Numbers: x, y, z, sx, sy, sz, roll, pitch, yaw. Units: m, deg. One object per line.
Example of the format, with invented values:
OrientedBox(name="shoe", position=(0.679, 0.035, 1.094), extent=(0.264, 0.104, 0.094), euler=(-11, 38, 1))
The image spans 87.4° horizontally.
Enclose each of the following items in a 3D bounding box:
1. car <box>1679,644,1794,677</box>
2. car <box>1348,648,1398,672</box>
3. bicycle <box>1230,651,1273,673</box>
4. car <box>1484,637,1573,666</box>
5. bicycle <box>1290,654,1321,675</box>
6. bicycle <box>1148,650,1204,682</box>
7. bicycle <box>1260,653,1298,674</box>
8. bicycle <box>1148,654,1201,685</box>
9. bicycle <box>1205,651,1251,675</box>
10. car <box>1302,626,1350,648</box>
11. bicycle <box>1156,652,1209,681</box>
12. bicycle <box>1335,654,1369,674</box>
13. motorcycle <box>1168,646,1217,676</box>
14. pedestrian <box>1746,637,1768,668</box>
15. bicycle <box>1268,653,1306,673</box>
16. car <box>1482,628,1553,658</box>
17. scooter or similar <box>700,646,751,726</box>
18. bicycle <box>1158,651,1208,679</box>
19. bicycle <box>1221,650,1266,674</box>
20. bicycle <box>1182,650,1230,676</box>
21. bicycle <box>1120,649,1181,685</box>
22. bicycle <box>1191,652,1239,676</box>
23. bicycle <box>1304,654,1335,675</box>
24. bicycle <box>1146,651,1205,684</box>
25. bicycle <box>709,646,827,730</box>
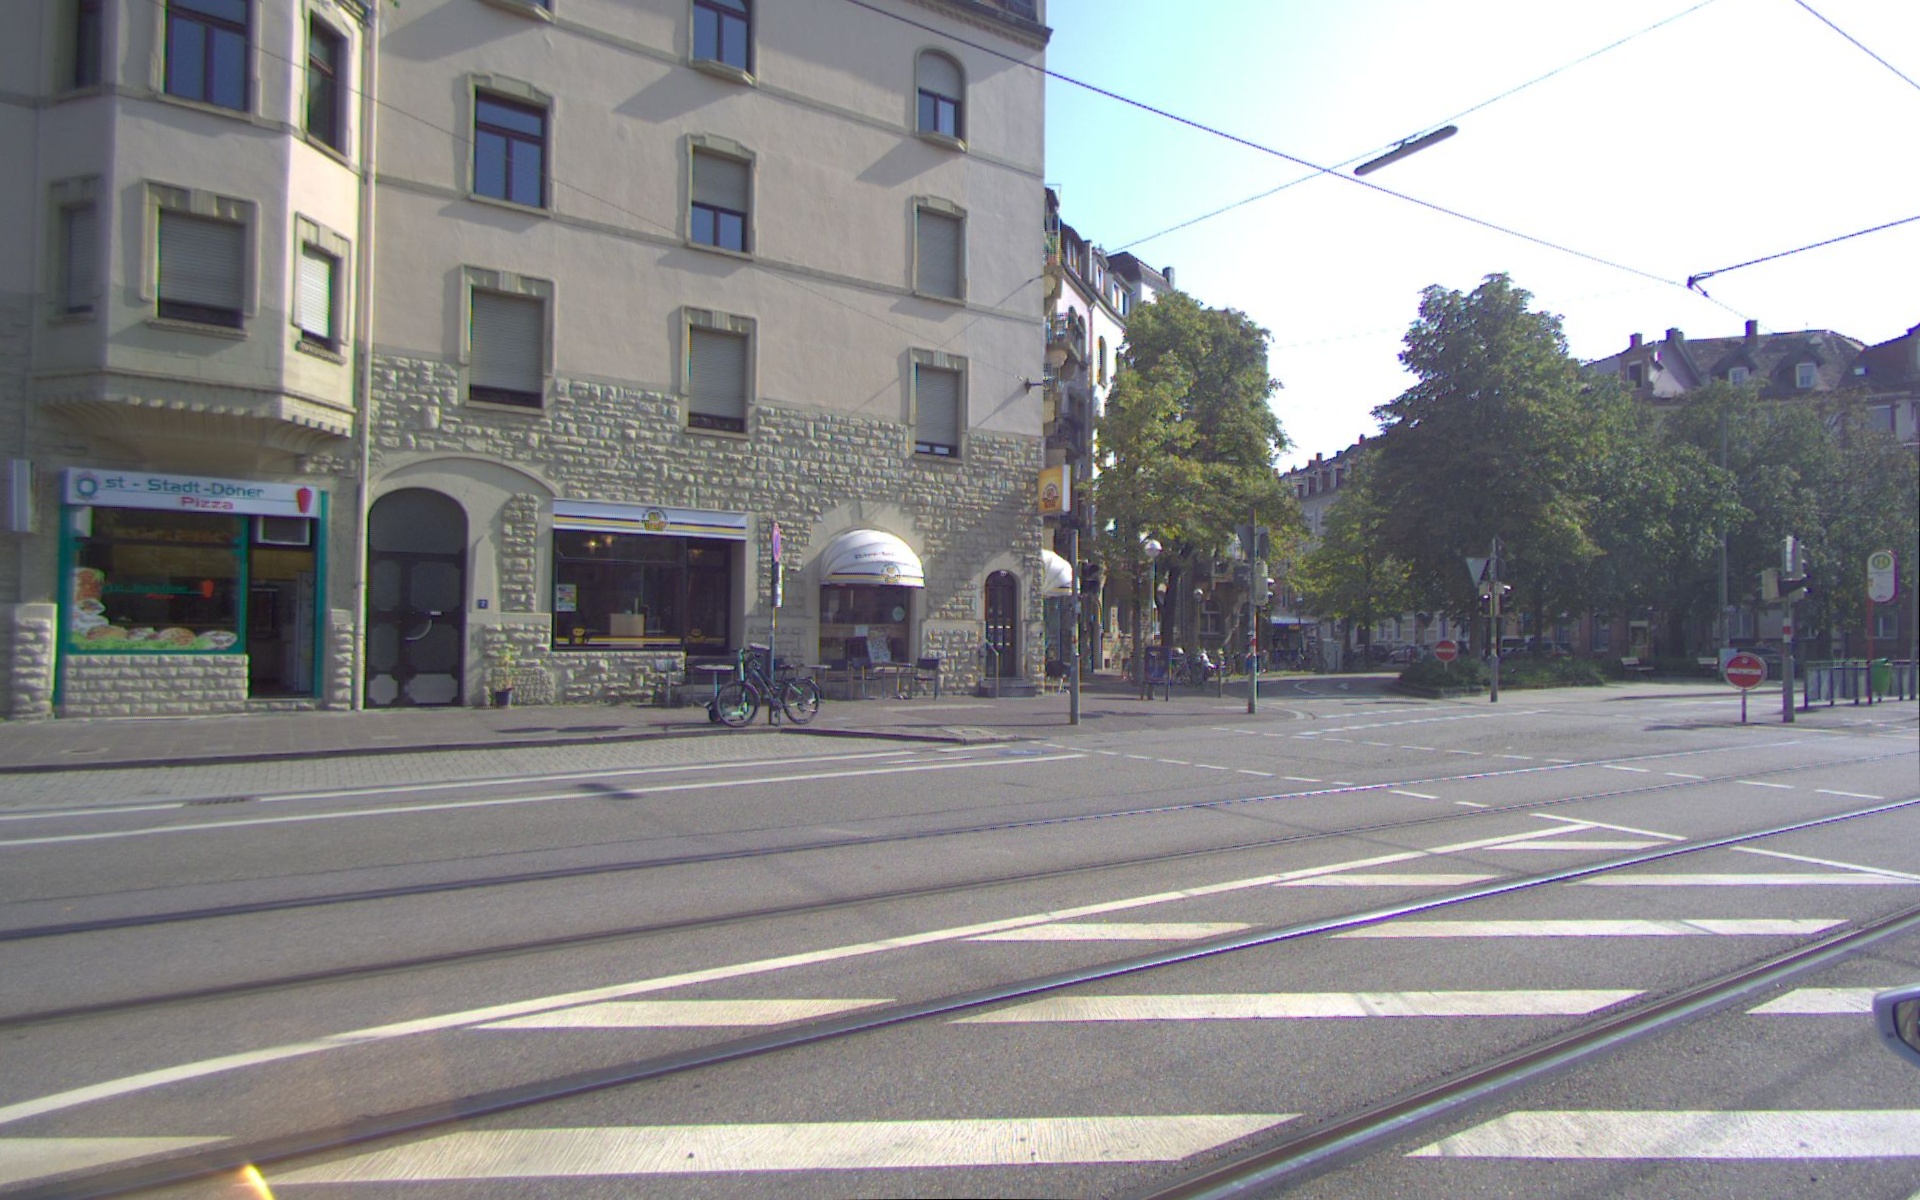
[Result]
OrientedBox(name="car", position=(40.000, 3.085, 51.885), extent=(4.250, 1.589, 2.001), euler=(0, -2, 18))
OrientedBox(name="car", position=(33.439, 4.826, 81.480), extent=(1.964, 1.852, 3.995), euler=(1, -2, -9))
OrientedBox(name="bicycle", position=(13.440, 2.850, 46.345), extent=(1.851, 0.947, 0.635), euler=(-1, -3, 42))
OrientedBox(name="car", position=(33.440, 3.005, 59.176), extent=(1.970, 1.589, 4.316), euler=(1, -2, -21))
OrientedBox(name="bicycle", position=(17.056, 3.168, 49.562), extent=(1.750, 0.990, 0.422), euler=(2, -2, -32))
OrientedBox(name="bicycle", position=(7.464, 2.280, 34.744), extent=(1.841, 1.047, 0.570), euler=(0, -2, 21))
OrientedBox(name="bicycle", position=(15.910, 3.163, 50.151), extent=(1.742, 0.990, 0.518), euler=(-2, -3, 38))
OrientedBox(name="bicycle", position=(6.783, 2.212, 31.845), extent=(1.577, 0.932, 0.479), euler=(1, -2, 0))
OrientedBox(name="bicycle", position=(11.720, 2.732, 43.964), extent=(1.865, 0.993, 0.685), euler=(0, -2, 26))
OrientedBox(name="car", position=(32.137, 3.283, 88.307), extent=(1.968, 1.852, 3.986), euler=(1, -2, -17))
OrientedBox(name="bicycle", position=(7.990, 2.387, 36.083), extent=(1.769, 0.997, 0.570), euler=(0, -2, 19))
OrientedBox(name="bicycle", position=(20.213, 3.282, 51.814), extent=(0.596, 0.990, 1.761), euler=(1, -2, -23))
OrientedBox(name="motorcycle", position=(9.452, 2.464, 40.804), extent=(1.840, 1.169, 0.607), euler=(0, -2, 26))
OrientedBox(name="pedestrian", position=(44.996, 2.975, 56.744), extent=(0.756, 1.753, 0.752), euler=(0, -2, 21))
OrientedBox(name="bicycle", position=(16.500, 3.181, 50.666), extent=(1.742, 0.990, 0.603), euler=(-2, -3, 37))
OrientedBox(name="car", position=(35.844, 2.771, 64.707), extent=(1.964, 1.852, 3.995), euler=(1, -2, -9))
OrientedBox(name="scooter or similar", position=(-3.720, 1.345, 15.985), extent=(0.359, 1.213, 1.035), euler=(0, -2, 13))
OrientedBox(name="bicycle", position=(8.273, 2.411, 37.263), extent=(1.769, 0.996, 0.660), euler=(0, -2, 19))
OrientedBox(name="bicycle", position=(12.696, 2.776, 44.970), extent=(1.865, 0.993, 0.685), euler=(0, -2, 26))
OrientedBox(name="bicycle", position=(10.187, 2.600, 41.612), extent=(1.843, 1.041, 0.663), euler=(0, -2, 26))
OrientedBox(name="bicycle", position=(6.157, 2.172, 32.505), extent=(1.844, 1.127, 0.569), euler=(2, -2, -10))
OrientedBox(name="bicycle", position=(10.837, 2.700, 42.710), extent=(1.876, 0.947, 0.737), euler=(0, -2, 26))
OrientedBox(name="bicycle", position=(17.734, 3.181, 49.543), extent=(1.750, 0.990, 0.422), euler=(2, -2, -32))
OrientedBox(name="bicycle", position=(7.125, 2.228, 33.287), extent=(1.840, 1.017, 0.570), euler=(1, -2, 6))
OrientedBox(name="bicycle", position=(-2.983, 1.349, 15.763), extent=(1.842, 1.242, 0.449), euler=(2, -3, -41))
